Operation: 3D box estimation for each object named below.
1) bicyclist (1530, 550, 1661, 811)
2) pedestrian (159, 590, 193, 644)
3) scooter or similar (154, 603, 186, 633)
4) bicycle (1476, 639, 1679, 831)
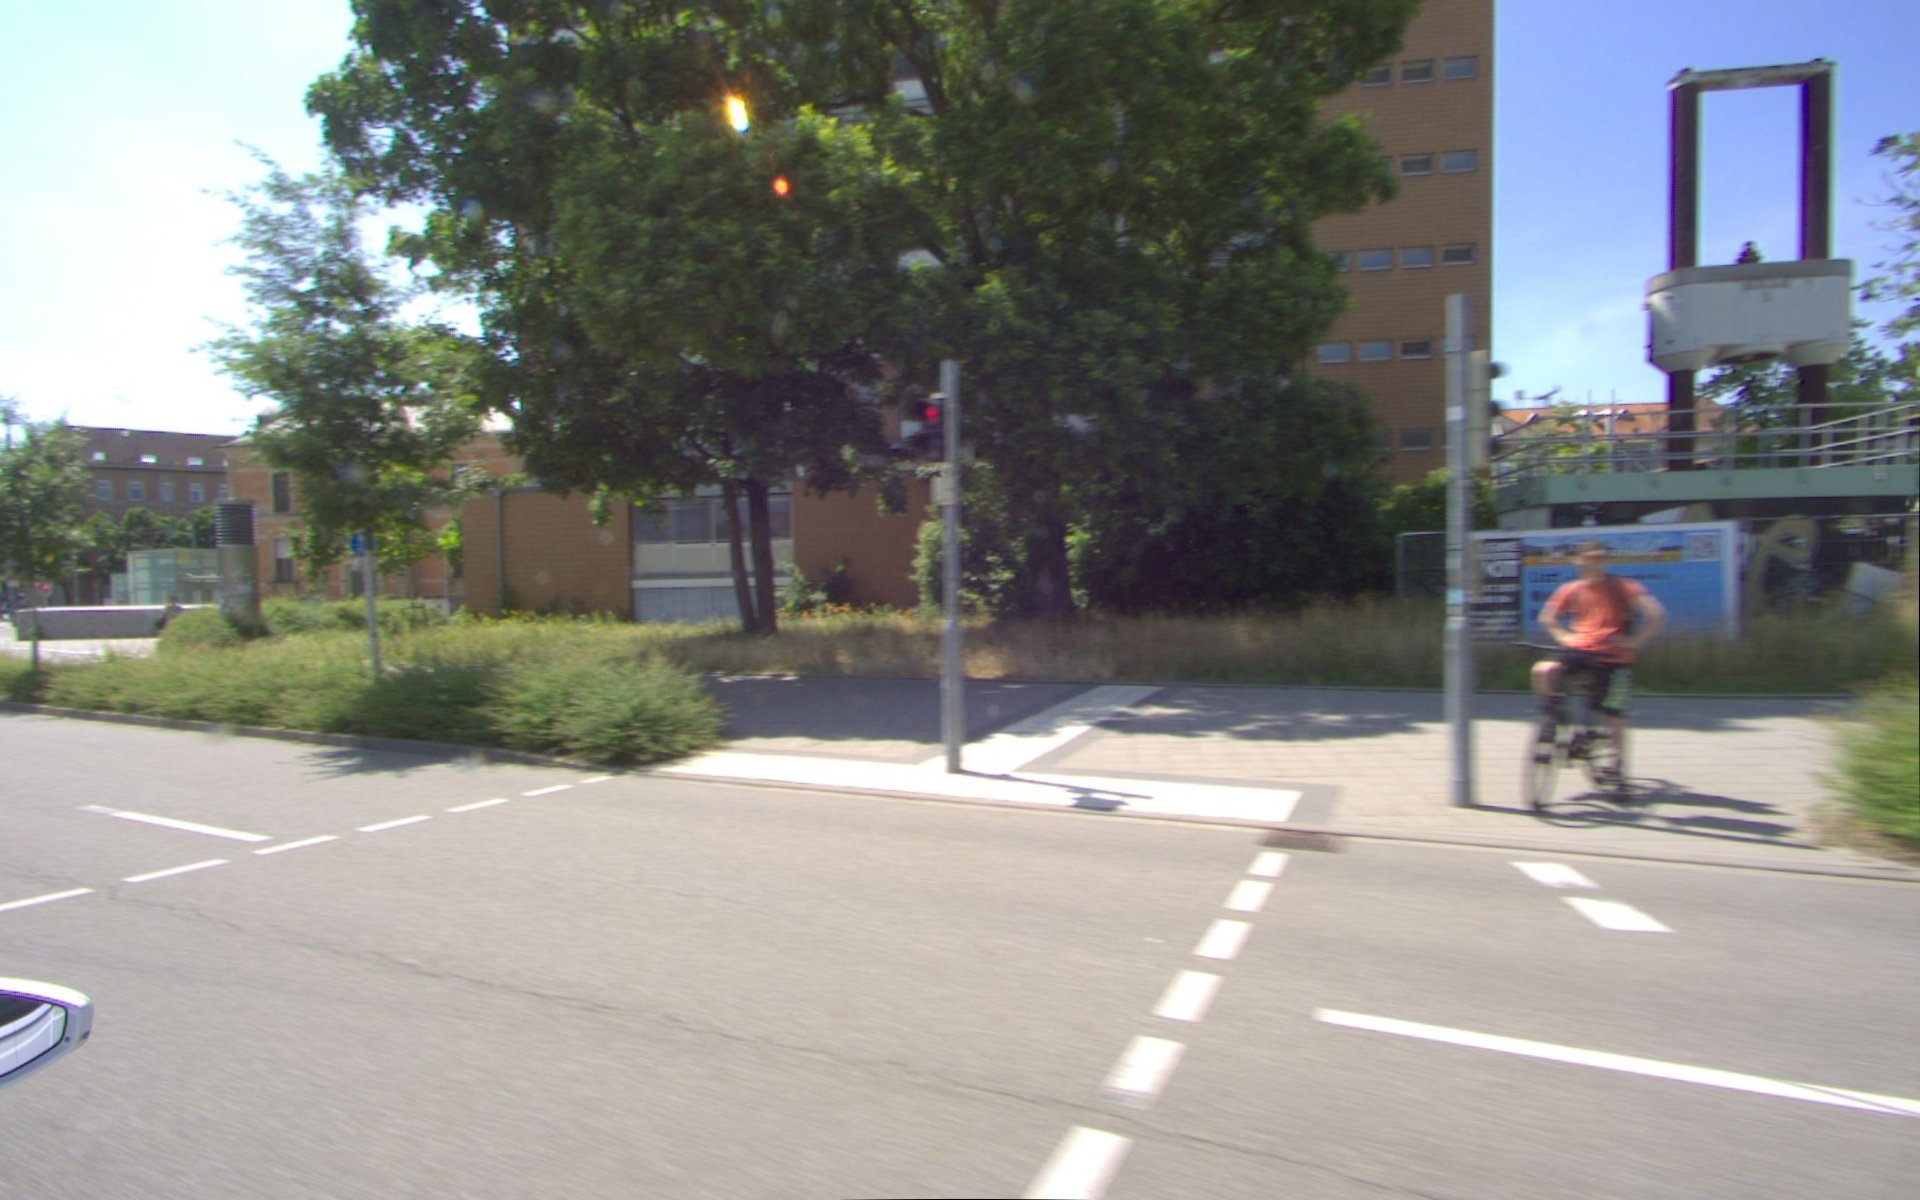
[{"bbox_3d":[4.495,0.524,7.088,0.695,1.740,0.547,-2,4,-39],"label":"bicyclist"},{"bbox_3d":[-25.639,0.548,32.738,0.801,1.729,0.728,1,1,40],"label":"pedestrian"},{"bbox_3d":[-33.197,0.760,42.064,1.266,1.183,0.397,2,2,17],"label":"scooter or similar"},{"bbox_3d":[4.372,0.872,7.026,1.973,1.060,0.554,-2,3,-38],"label":"bicycle"}]
